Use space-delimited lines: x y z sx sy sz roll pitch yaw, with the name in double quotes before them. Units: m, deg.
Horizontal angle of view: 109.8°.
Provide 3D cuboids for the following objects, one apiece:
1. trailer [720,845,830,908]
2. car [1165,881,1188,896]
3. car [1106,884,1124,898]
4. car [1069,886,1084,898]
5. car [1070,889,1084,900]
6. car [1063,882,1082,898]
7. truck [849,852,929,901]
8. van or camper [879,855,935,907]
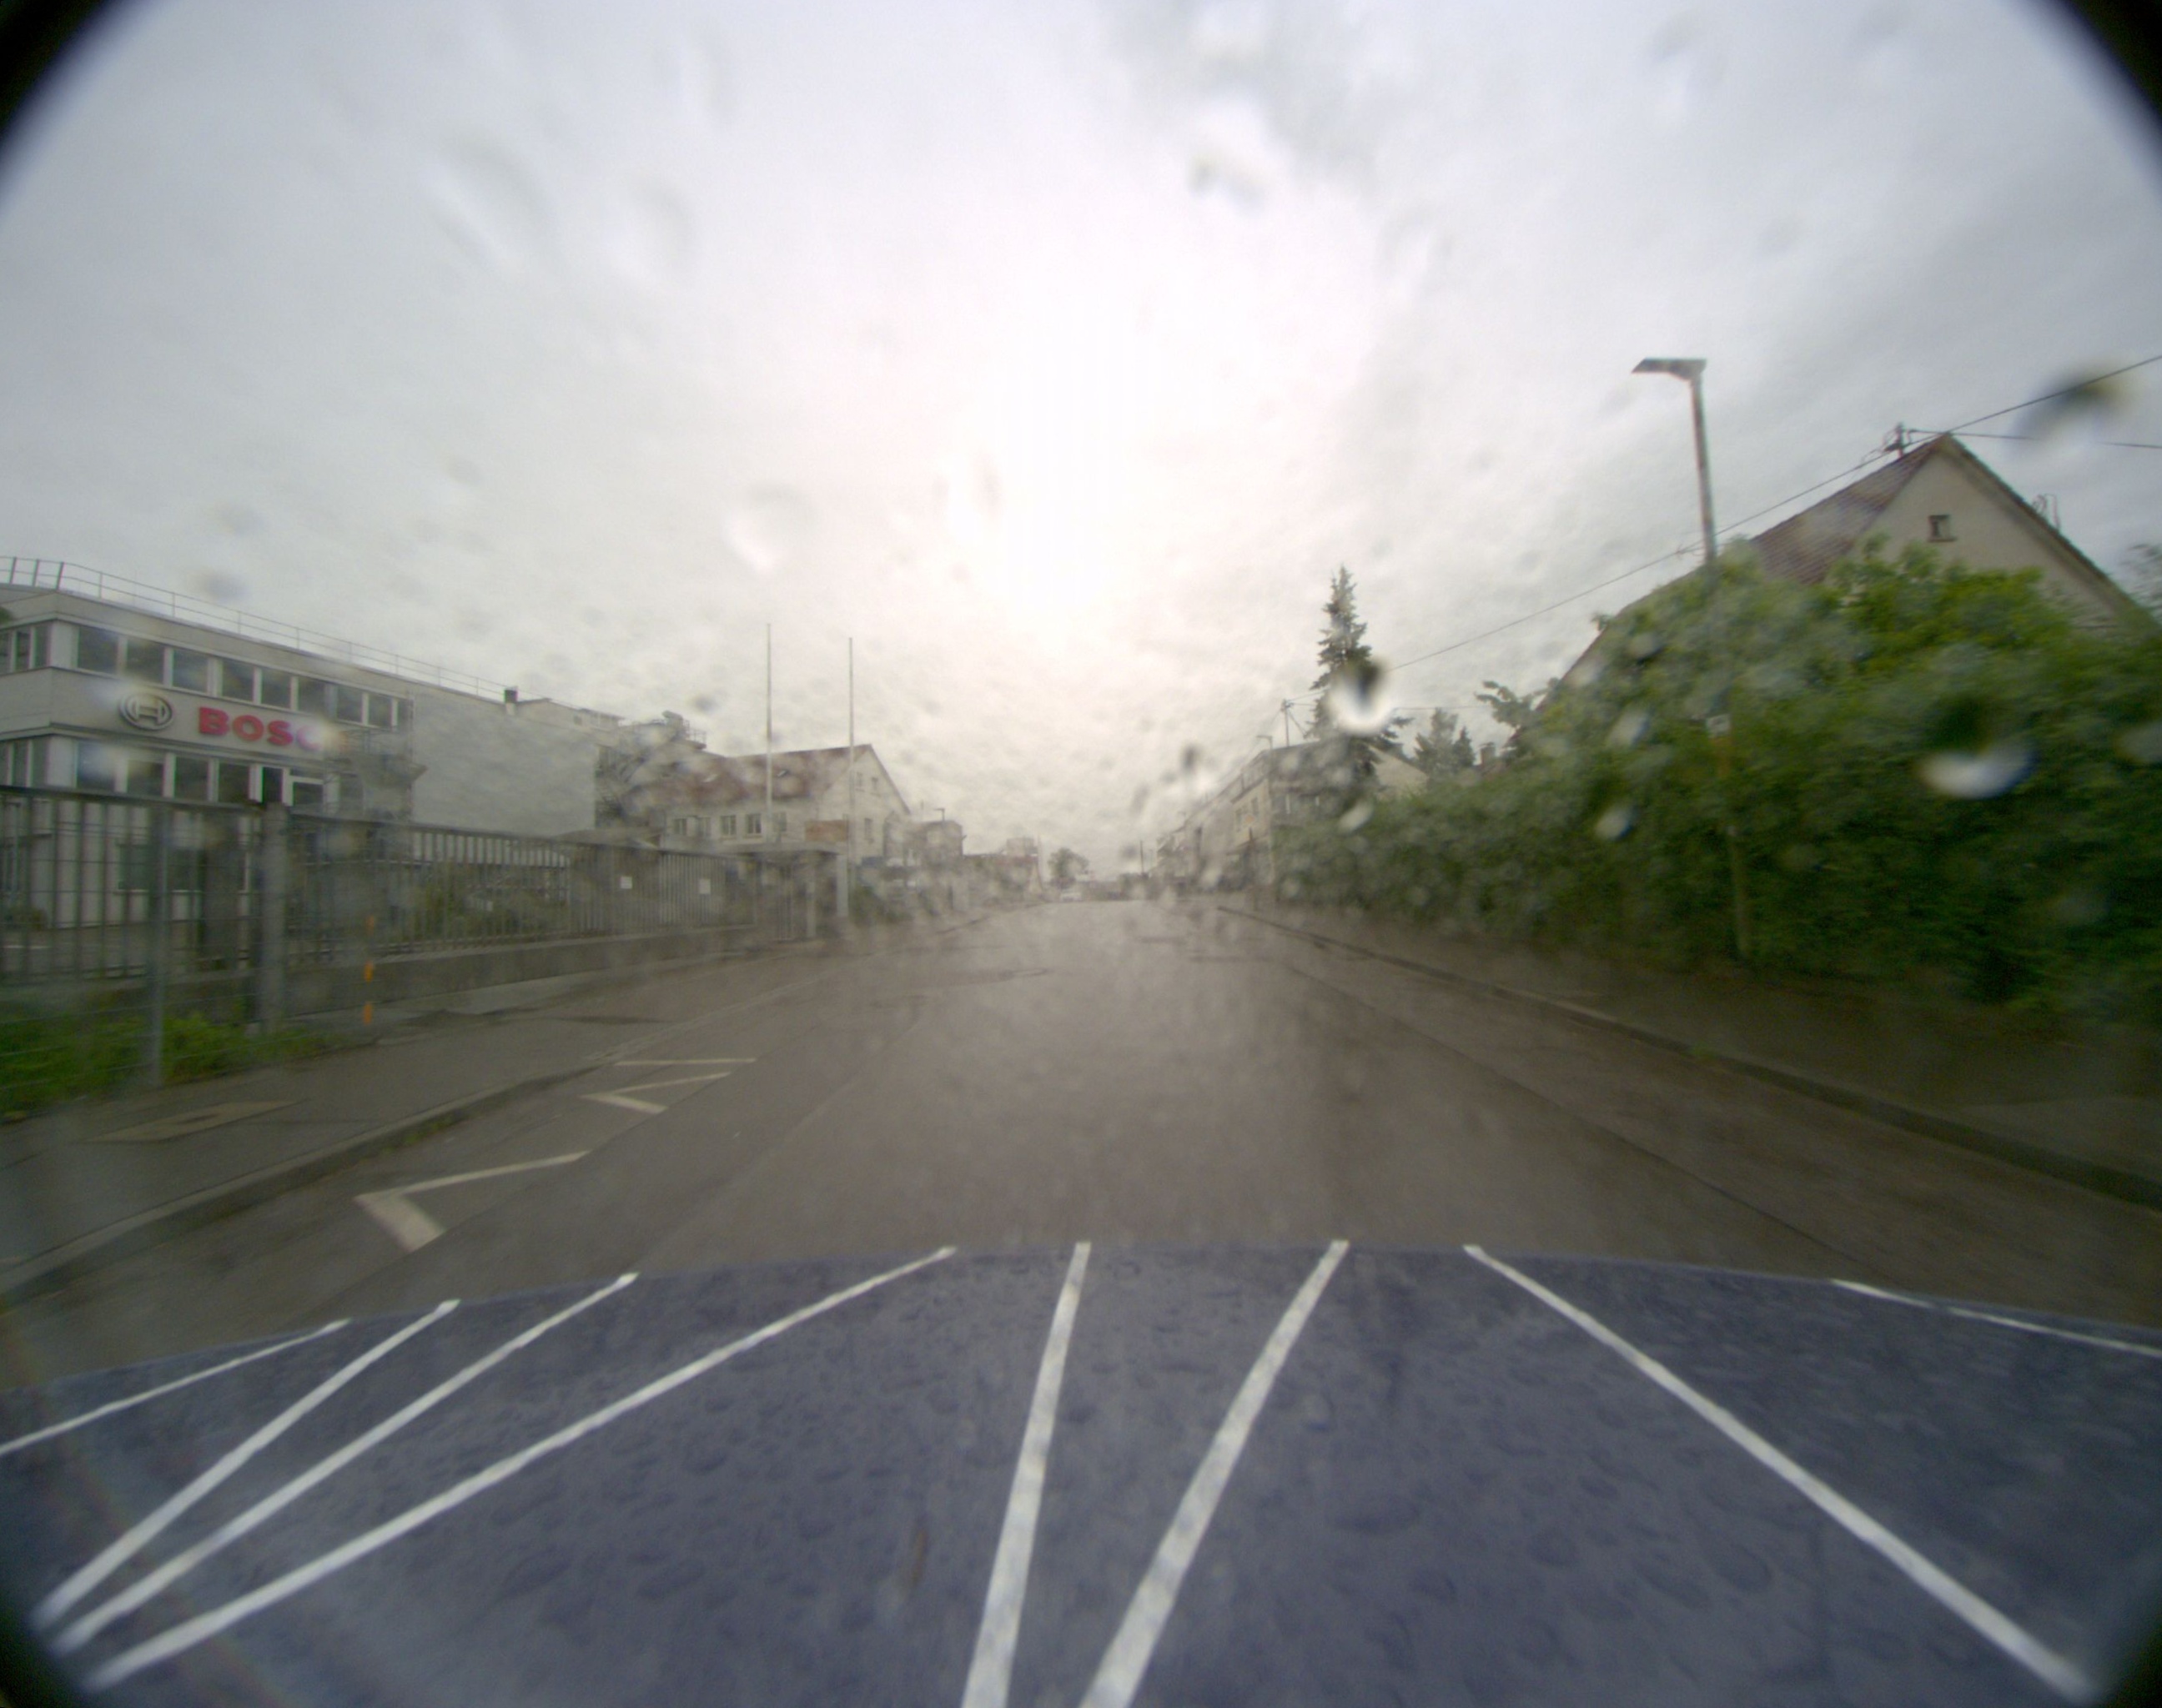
"trailer" -15.395 1.072 38.573 2.631 2.874 4.637 -4 -1 18
"car" 10.213 3.676 81.480 1.898 1.523 4.001 -1 -1 0
"car" 4.107 4.450 91.876 1.898 1.523 4.001 -1 -1 0
"car" -0.610 4.873 97.478 1.898 1.470 4.001 -1 -1 0
"car" -0.494 5.592 105.822 1.898 1.470 4.001 -1 -1 0
"car" -0.912 3.782 79.611 1.898 1.537 4.001 -1 -1 0
"truck" -12.321 1.437 49.399 2.324 2.950 7.138 -1 -1 9
"van or camper" -8.958 1.369 39.529 2.090 2.480 5.803 -1 -1 -5
